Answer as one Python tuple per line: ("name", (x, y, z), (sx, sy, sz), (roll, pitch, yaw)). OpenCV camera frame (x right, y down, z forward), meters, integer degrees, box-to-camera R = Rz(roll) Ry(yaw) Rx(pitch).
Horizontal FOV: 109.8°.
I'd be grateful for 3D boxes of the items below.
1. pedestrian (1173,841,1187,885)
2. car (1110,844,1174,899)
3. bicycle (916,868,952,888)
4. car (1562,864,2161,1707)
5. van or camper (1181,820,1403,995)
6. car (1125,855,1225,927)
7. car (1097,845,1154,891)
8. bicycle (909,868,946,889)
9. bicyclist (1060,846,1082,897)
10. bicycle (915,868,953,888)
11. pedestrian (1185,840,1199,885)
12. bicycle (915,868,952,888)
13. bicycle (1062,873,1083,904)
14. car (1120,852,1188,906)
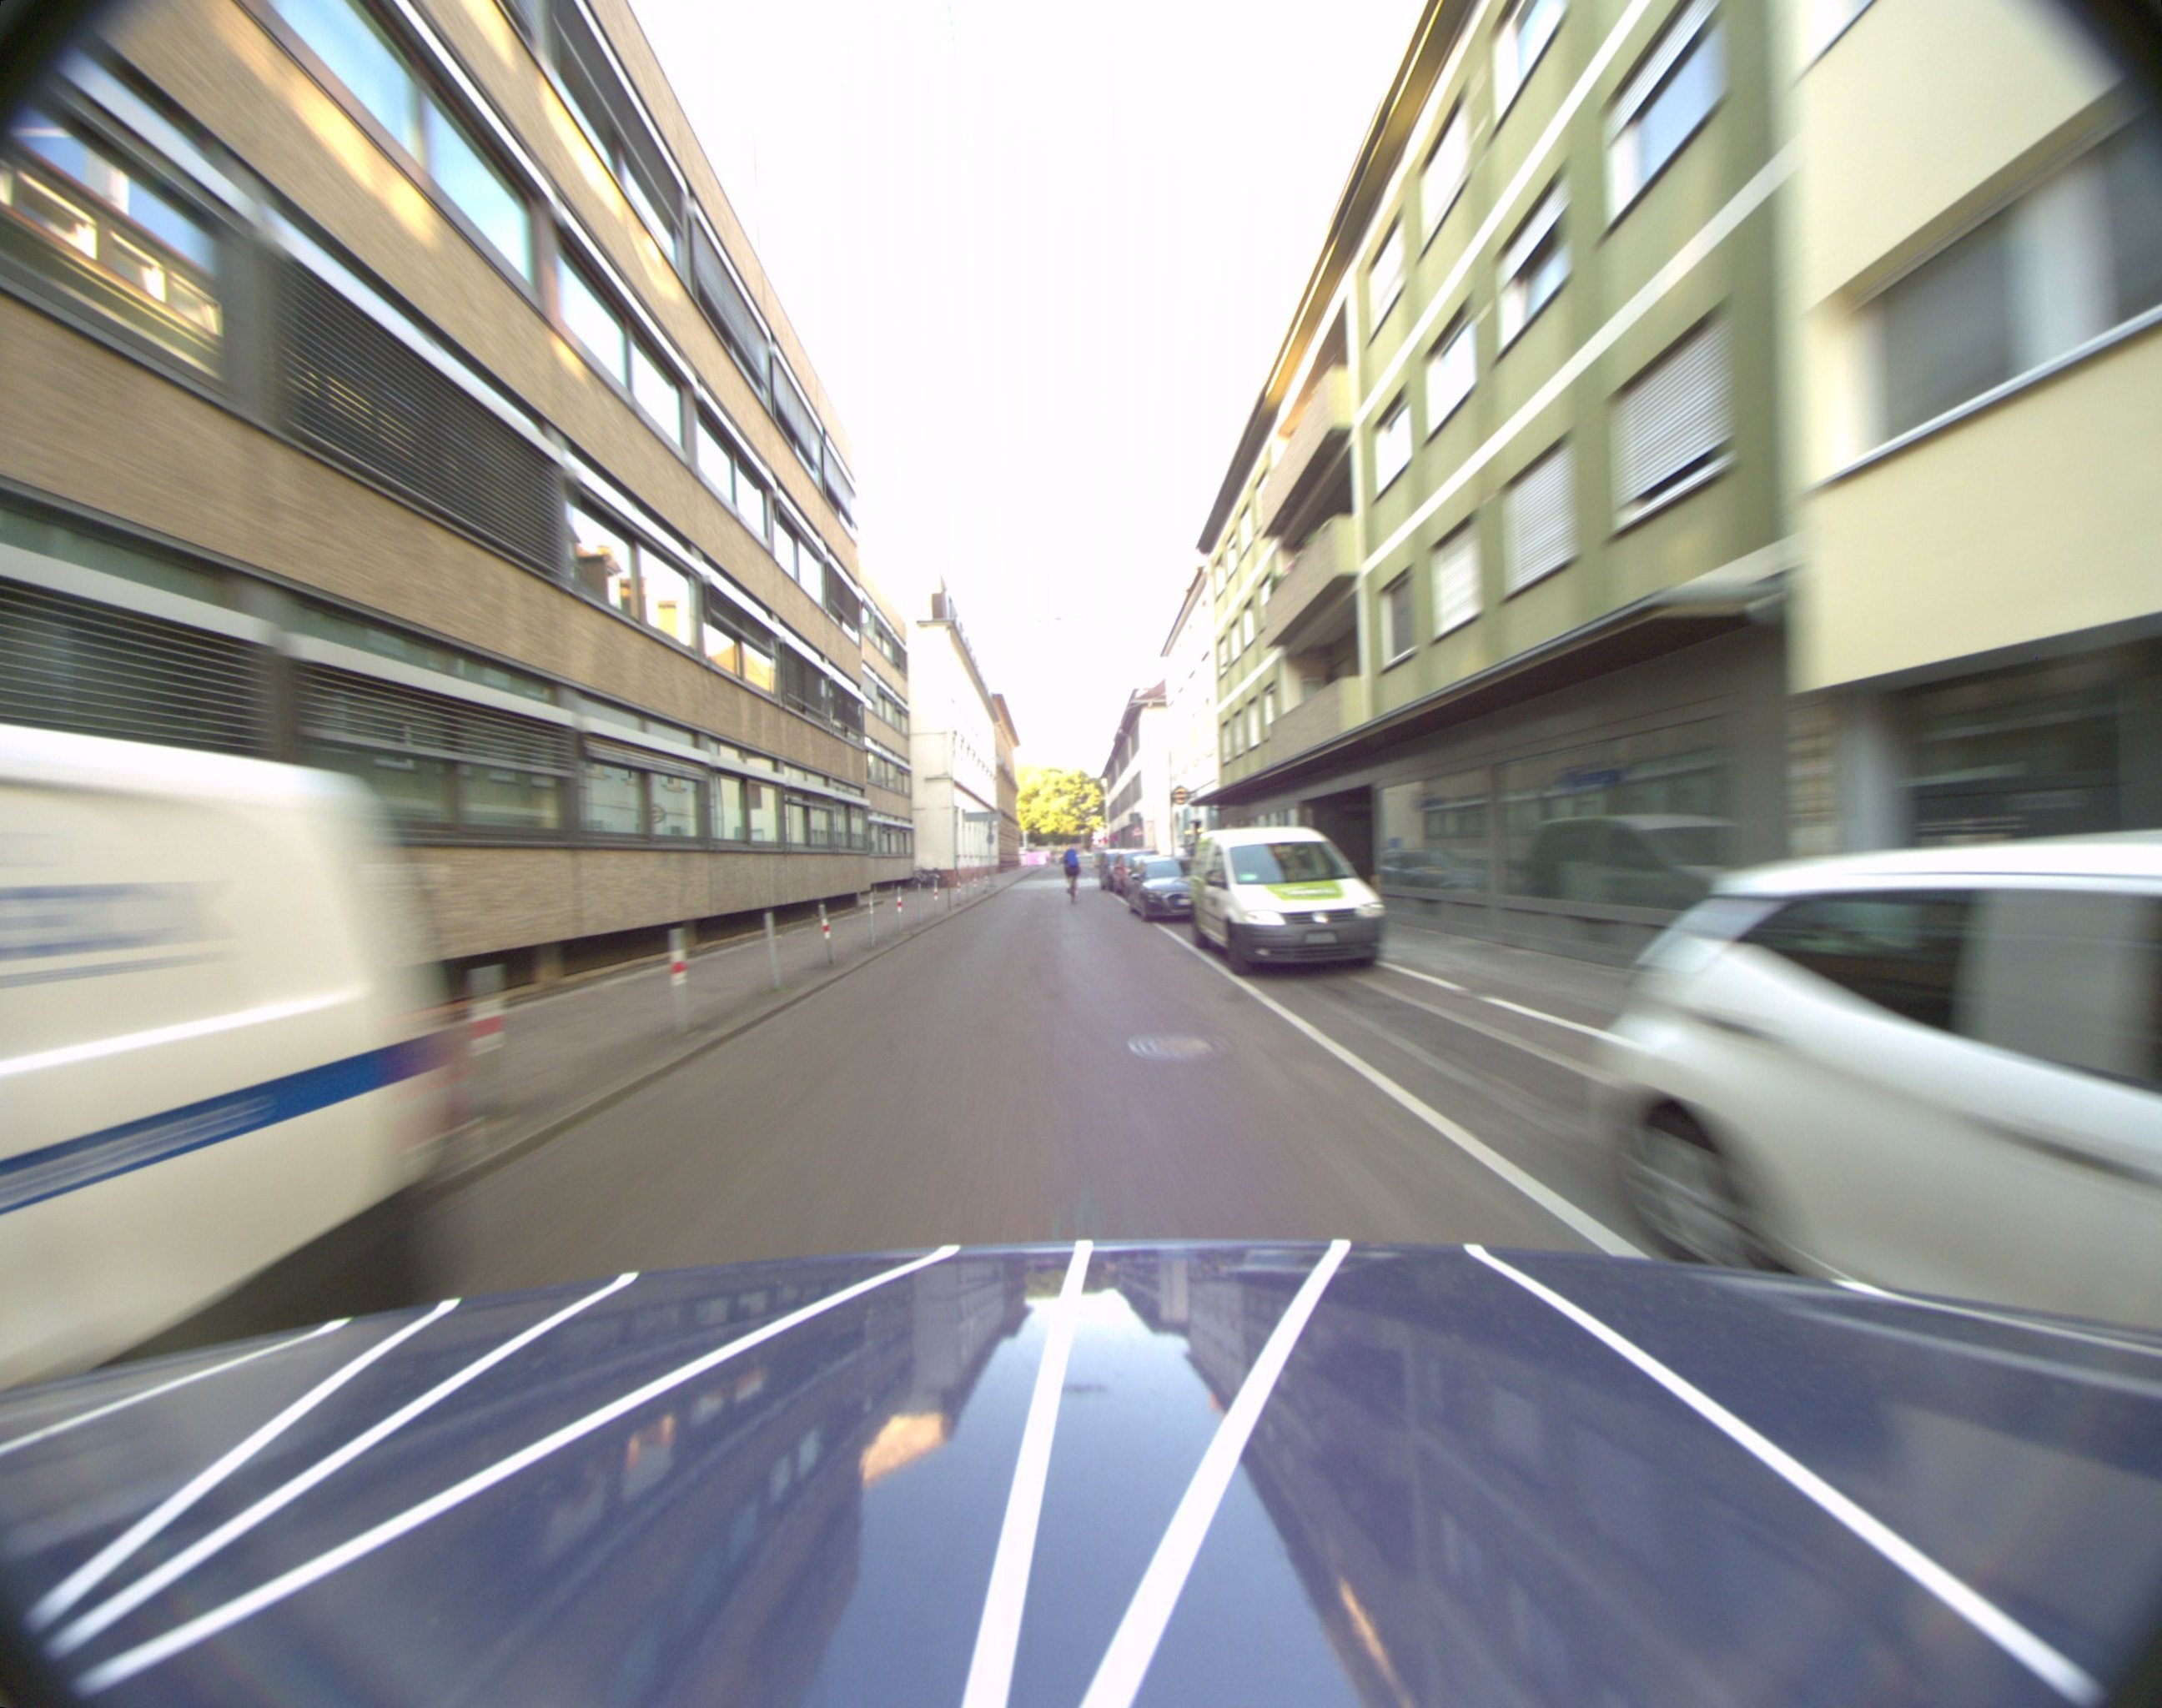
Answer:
("pedestrian", (3.977, 0.364, 30.529), (0.450, 1.740, 0.470), (-3, 1, 0))
("car", (2.188, 0.606, 28.498), (1.777, 1.800, 4.509), (-3, 0, -2))
("bicycle", (-7.700, 1.256, 39.881), (1.800, 0.917, 0.396), (-3, 1, -5))
("car", (2.769, 0.847, 1.162), (1.666, 1.440, 3.520), (-6, 1, -2))
("van or camper", (2.557, 0.572, 10.301), (1.777, 1.837, 4.178), (-2, 0, 0))
("car", (2.101, 0.781, 17.985), (1.628, 1.408, 3.979), (-3, 1, -3))
("car", (1.876, 0.579, 33.624), (1.882, 1.800, 4.449), (-3, 0, -4))
("bicycle", (-7.617, 1.221, 37.741), (1.745, 0.917, 0.538), (-3, 1, -8))
("bicyclist", (-0.329, 0.558, 25.272), (0.625, 1.630, 1.081), (-3, 1, -1))
("bicycle", (-7.452, 1.207, 38.559), (1.801, 0.917, 0.538), (-3, 1, -9))
("pedestrian", (4.327, 0.317, 29.705), (0.407, 1.740, 0.470), (-3, 1, 0))
("bicycle", (-7.630, 1.257, 39.313), (1.801, 0.917, 0.516), (-3, 1, -9))
("bicycle", (-0.296, 1.140, 25.315), (0.635, 0.916, 1.779), (-3, 1, -1))
("car", (2.188, 0.722, 23.716), (1.628, 1.476, 3.877), (-2, 1, -1))
